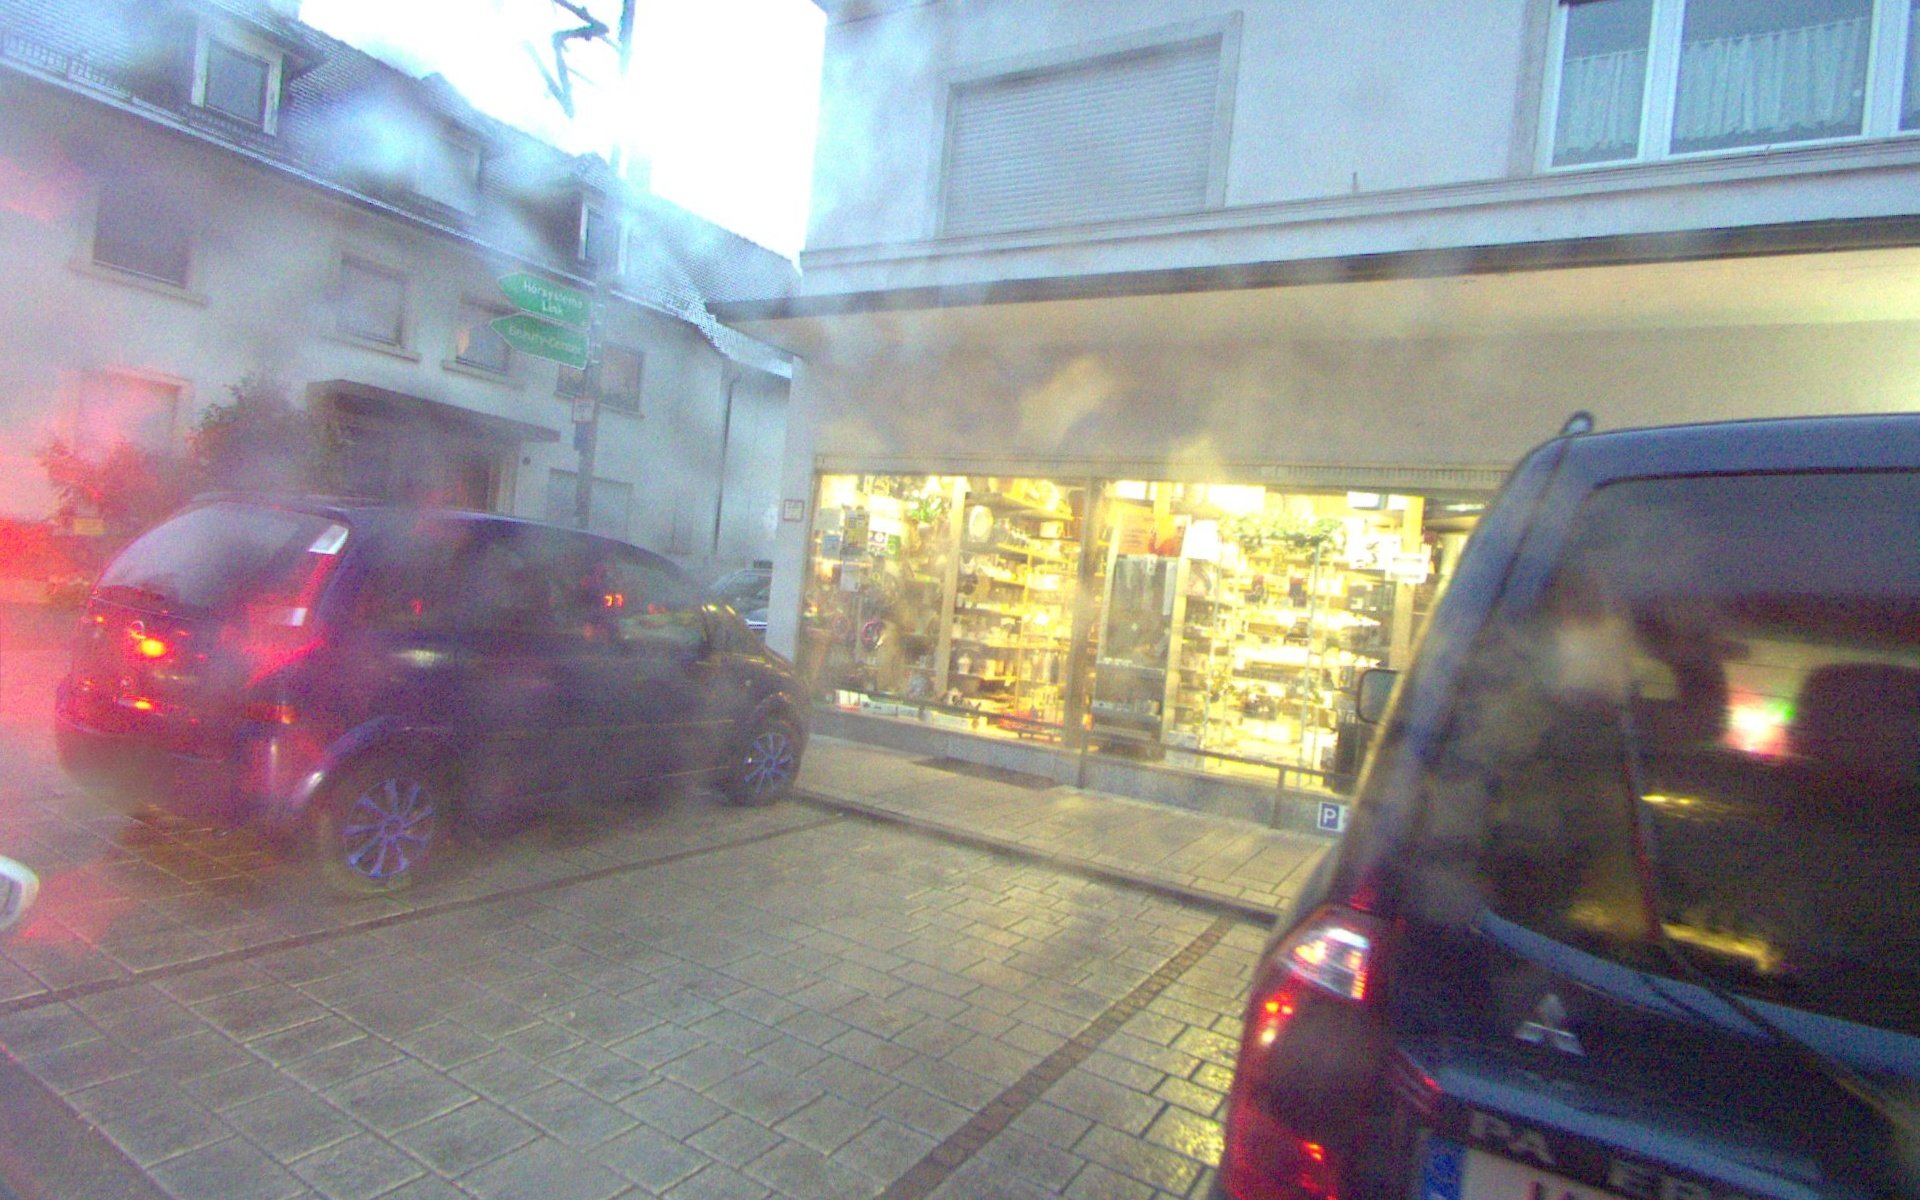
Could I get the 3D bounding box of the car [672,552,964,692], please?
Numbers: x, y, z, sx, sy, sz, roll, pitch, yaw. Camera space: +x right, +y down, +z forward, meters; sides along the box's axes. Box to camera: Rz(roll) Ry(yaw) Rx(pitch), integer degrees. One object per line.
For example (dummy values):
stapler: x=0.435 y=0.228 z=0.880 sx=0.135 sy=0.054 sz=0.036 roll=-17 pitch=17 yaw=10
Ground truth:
car: x=-1.876 y=0.363 z=14.498 sx=1.967 sy=1.590 sz=3.991 roll=6 pitch=0 yaw=31

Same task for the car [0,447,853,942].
car: x=-2.389 y=0.365 z=5.457 sx=1.652 sy=1.599 sz=3.878 roll=7 pitch=0 yaw=26

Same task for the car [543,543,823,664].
car: x=-4.288 y=0.133 z=16.140 sx=1.905 sy=1.543 sz=3.990 roll=6 pitch=0 yaw=33

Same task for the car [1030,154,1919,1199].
car: x=1.944 y=0.778 z=2.517 sx=1.911 sy=1.798 sz=4.612 roll=7 pitch=1 yaw=27
